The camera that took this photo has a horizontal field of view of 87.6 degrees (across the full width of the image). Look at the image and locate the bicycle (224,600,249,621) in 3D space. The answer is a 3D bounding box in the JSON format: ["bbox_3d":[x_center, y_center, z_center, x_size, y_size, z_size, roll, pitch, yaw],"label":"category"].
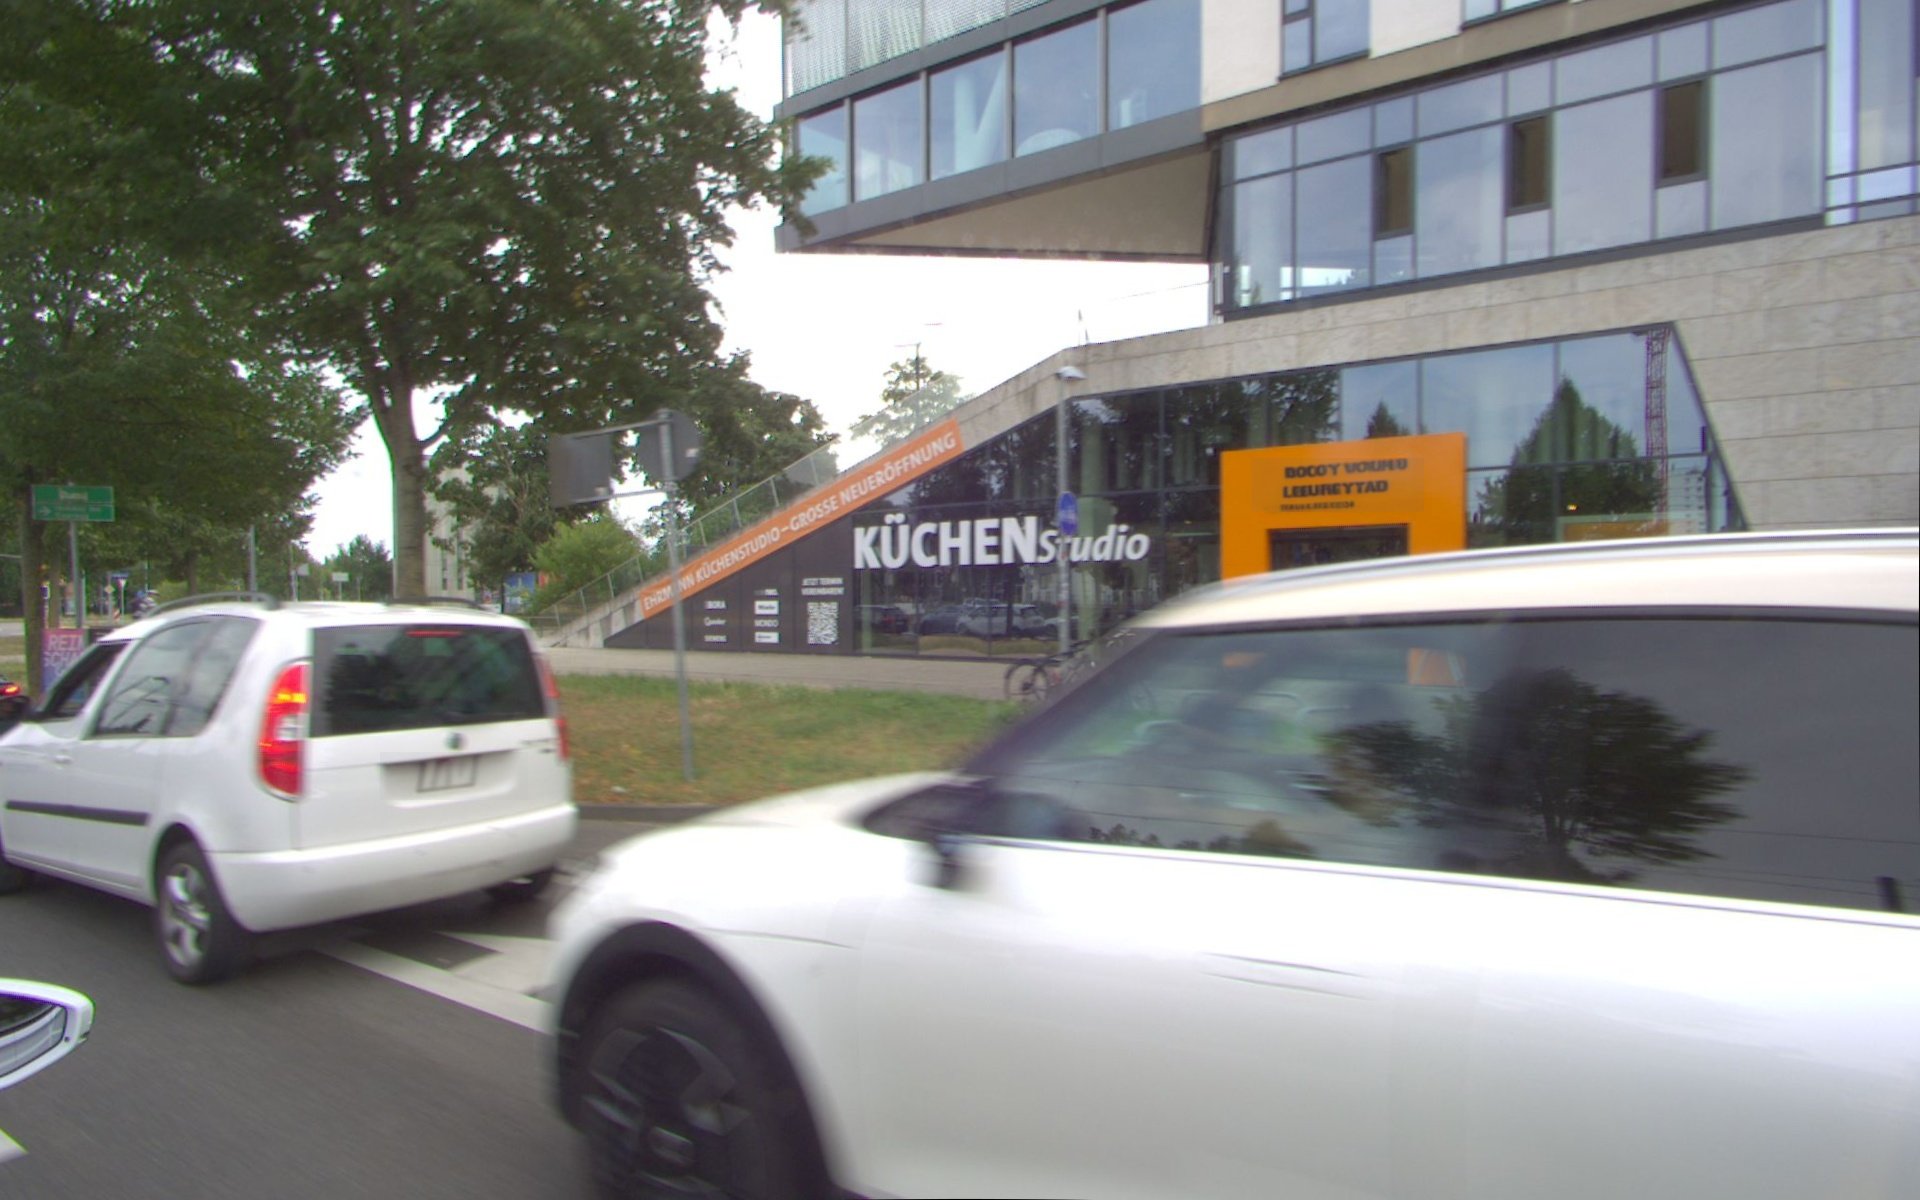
[{"bbox_3d":[-53.104,0.791,73.475,1.977,1.524,0.704,0,-2,30],"label":"bicycle"}]

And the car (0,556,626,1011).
[{"bbox_3d":[-3.867,0.688,5.512,3.966,1.678,1.775,0,0,33],"label":"car"}]

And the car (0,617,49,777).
[{"bbox_3d":[-10.873,0.888,9.766,4.246,1.450,1.785,0,-1,30],"label":"car"}]

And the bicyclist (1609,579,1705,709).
[{"bbox_3d":[9.001,0.545,12.967,0.975,1.603,0.723,0,2,32],"label":"bicyclist"}]

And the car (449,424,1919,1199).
[{"bbox_3d":[0.840,0.682,2.255,3.966,1.677,1.776,0,-2,33],"label":"car"}]

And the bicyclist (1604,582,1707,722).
[{"bbox_3d":[8.361,0.598,12.074,0.975,1.603,0.723,0,2,32],"label":"bicyclist"}]

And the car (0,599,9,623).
[{"bbox_3d":[-69.652,0.770,71.832,4.353,1.657,1.774,0,0,42],"label":"car"}]

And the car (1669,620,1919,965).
[{"bbox_3d":[6.569,0.856,4.977,4.776,1.495,1.947,0,0,-3],"label":"car"}]

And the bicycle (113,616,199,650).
[{"bbox_3d":[-24.074,0.971,30.011,0.556,0.997,1.930,0,0,31],"label":"bicycle"}]

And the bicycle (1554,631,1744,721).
[{"bbox_3d":[8.870,0.952,12.992,1.978,1.056,0.672,0,0,32],"label":"bicycle"}]

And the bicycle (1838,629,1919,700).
[{"bbox_3d":[12.851,0.867,13.485,1.472,0.922,0.517,0,0,33],"label":"bicycle"}]

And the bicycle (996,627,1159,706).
[{"bbox_3d":[1.544,0.853,13.325,2.075,0.968,0.629,0,0,28],"label":"bicycle"}]

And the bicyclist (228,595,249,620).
[{"bbox_3d":[-52.921,0.534,73.413,1.157,1.813,0.865,0,0,31],"label":"bicyclist"}]

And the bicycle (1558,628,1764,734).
[{"bbox_3d":[8.369,0.930,12.072,1.978,1.158,0.672,0,0,32],"label":"bicycle"}]

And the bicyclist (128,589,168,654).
[{"bbox_3d":[-24.159,0.635,29.807,0.723,1.911,0.727,1,1,31],"label":"bicyclist"}]
